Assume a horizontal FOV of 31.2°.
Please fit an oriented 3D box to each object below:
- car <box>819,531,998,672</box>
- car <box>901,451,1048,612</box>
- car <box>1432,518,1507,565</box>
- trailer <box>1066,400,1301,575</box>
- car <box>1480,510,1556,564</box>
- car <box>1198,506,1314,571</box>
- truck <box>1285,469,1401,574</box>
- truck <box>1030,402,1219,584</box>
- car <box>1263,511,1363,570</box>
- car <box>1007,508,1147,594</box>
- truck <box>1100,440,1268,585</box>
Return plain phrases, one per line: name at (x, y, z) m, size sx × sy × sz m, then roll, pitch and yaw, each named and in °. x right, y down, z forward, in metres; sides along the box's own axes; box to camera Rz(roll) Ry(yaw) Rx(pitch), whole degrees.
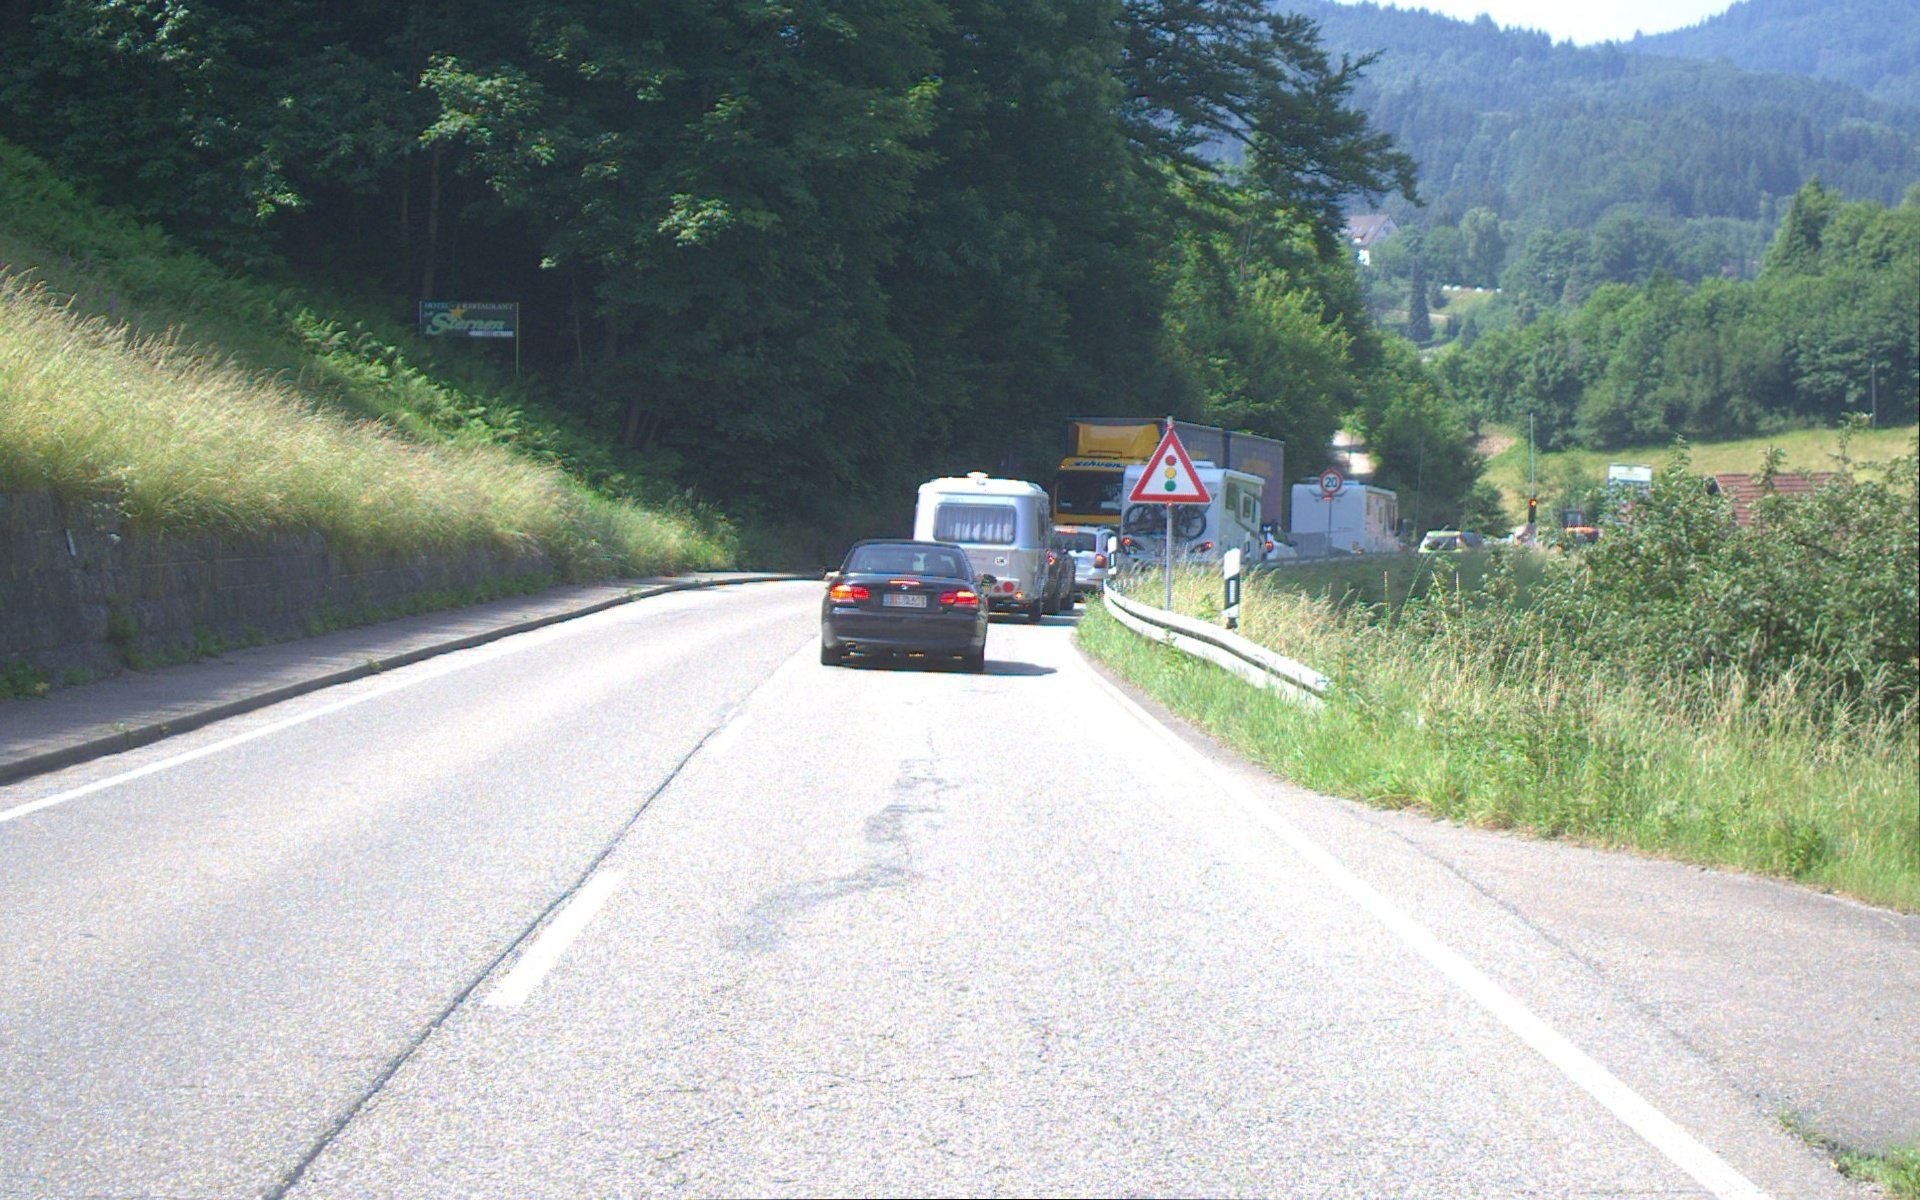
car at (-0.549, -0.020, 37.102) m, size 1.771 × 1.331 × 3.767 m, roll 3°, pitch 2°, yaw -1°
car at (0.286, -1.145, 54.810) m, size 1.994 × 2.344 × 4.914 m, roll 3°, pitch 3°, yaw 3°
car at (18.237, -2.081, 123.039) m, size 1.908 × 1.481 × 3.996 m, roll 4°, pitch 1°, yaw 18°
trailer at (6.569, -3.109, 97.294) m, size 3.262 × 4.402 × 15.304 m, roll 4°, pitch 2°, yaw 16°
car at (21.480, -2.429, 132.163) m, size 1.996 × 1.919 × 3.996 m, roll 5°, pitch 3°, yaw 20°
car at (7.551, -1.577, 87.399) m, size 1.995 × 1.459 × 3.997 m, roll 5°, pitch 3°, yaw 17°
truck at (11.325, -2.275, 101.199) m, size 2.239 × 2.794 × 6.227 m, roll 4°, pitch 1°, yaw 16°
truck at (4.364, -2.779, 89.605) m, size 3.191 × 4.381 × 6.566 m, roll 4°, pitch 3°, yaw 16°
car at (9.721, -1.638, 94.578) m, size 1.789 × 1.459 × 3.996 m, roll 5°, pitch 3°, yaw 18°
car at (2.316, -0.960, 67.045) m, size 1.995 × 1.479 × 3.998 m, roll 5°, pitch 2°, yaw 12°
truck at (5.246, -2.030, 79.264) m, size 2.792 × 2.987 × 6.865 m, roll 5°, pitch 2°, yaw 11°
